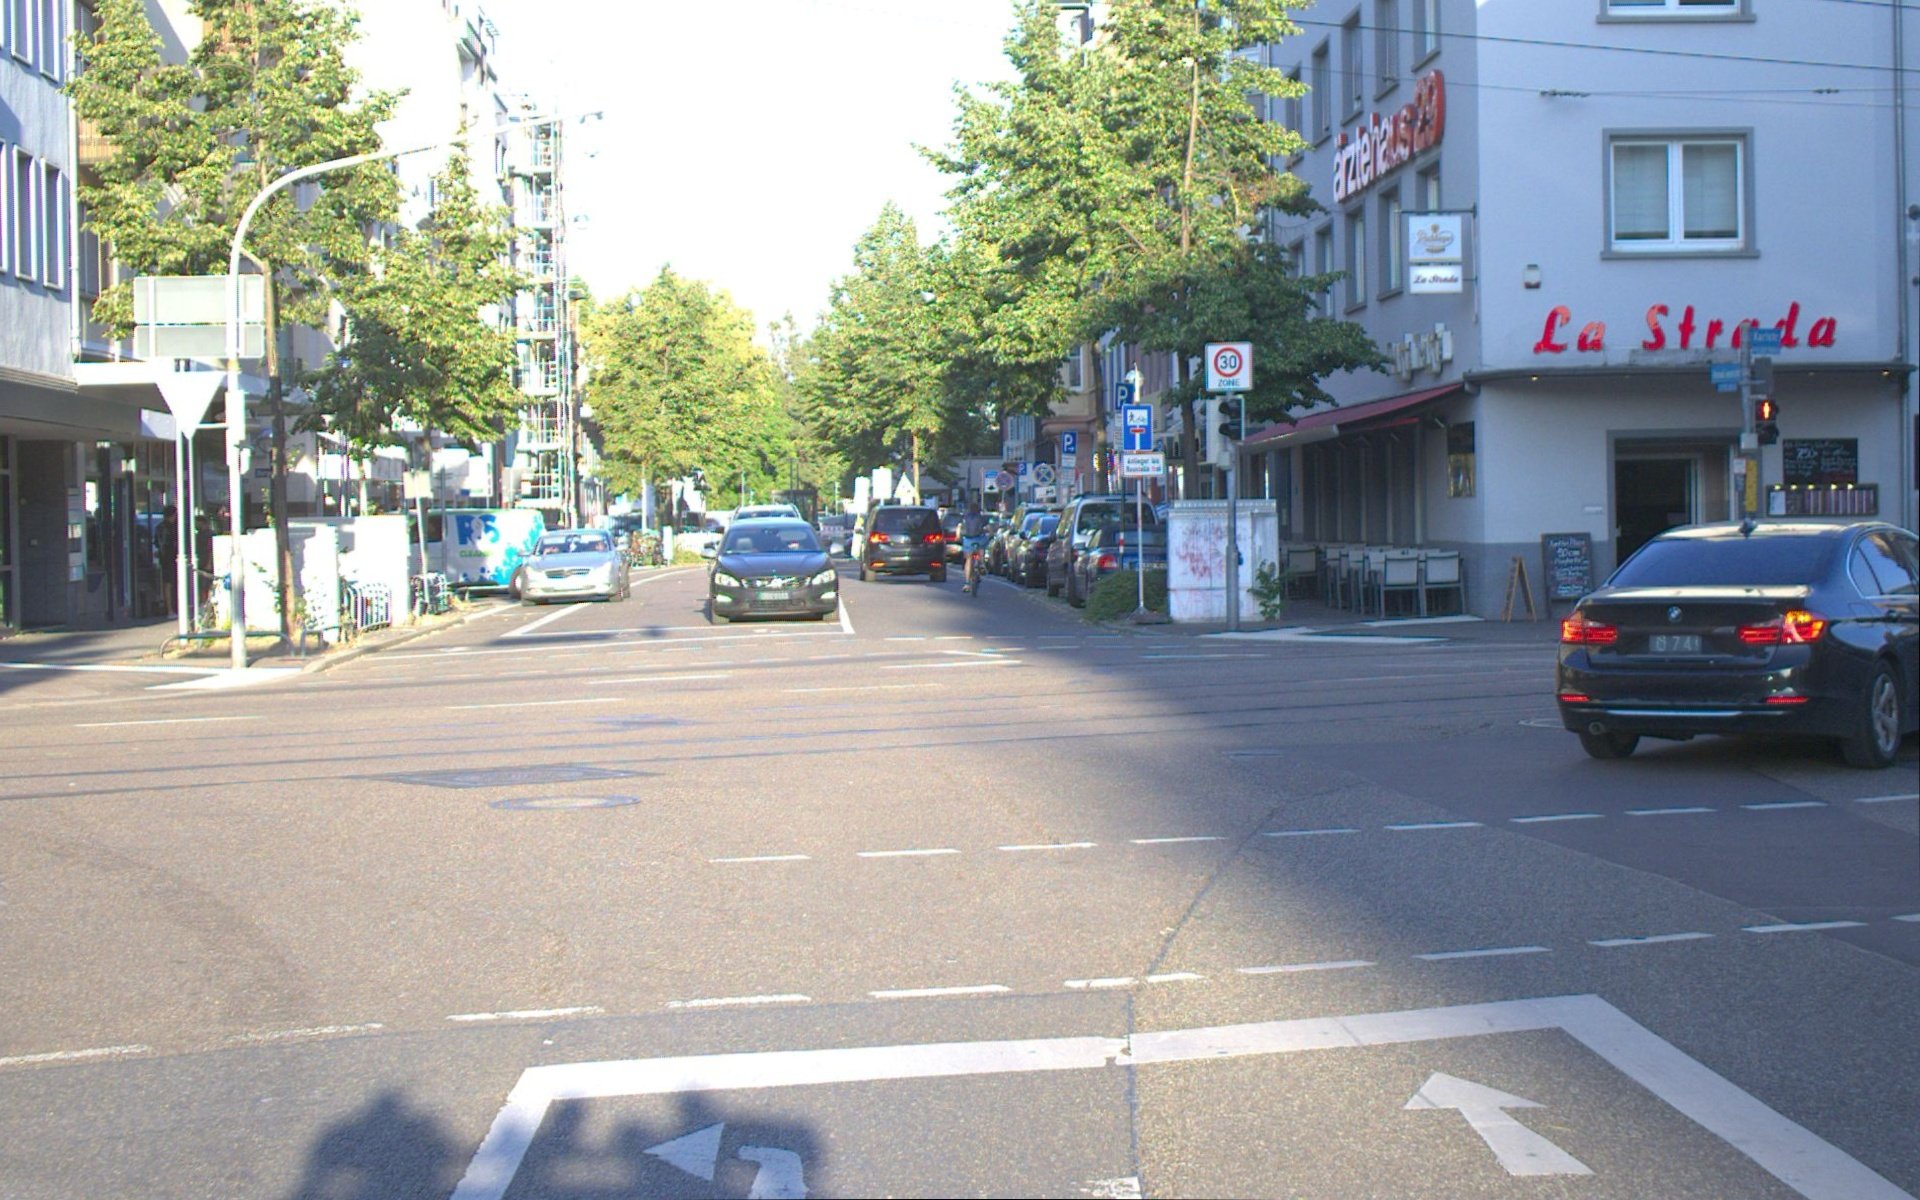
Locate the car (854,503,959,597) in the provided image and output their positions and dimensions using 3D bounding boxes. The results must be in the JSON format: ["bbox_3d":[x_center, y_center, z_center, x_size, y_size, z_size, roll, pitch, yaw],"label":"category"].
[{"bbox_3d":[-0.973,-0.867,60.217,1.723,1.544,4.465,-2,1,-2],"label":"car"}]

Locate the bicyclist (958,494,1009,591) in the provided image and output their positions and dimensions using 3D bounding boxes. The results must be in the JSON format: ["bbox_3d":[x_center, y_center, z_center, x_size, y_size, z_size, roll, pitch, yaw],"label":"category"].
[{"bbox_3d":[0.411,-1.021,61.322,0.780,1.690,1.007,-2,1,-5],"label":"bicyclist"}]

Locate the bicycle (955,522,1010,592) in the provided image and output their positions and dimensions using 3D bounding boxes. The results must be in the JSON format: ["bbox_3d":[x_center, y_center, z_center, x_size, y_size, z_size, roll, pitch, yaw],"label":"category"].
[{"bbox_3d":[0.391,-0.765,61.279,0.780,1.200,2.021,-2,1,-5],"label":"bicycle"}]

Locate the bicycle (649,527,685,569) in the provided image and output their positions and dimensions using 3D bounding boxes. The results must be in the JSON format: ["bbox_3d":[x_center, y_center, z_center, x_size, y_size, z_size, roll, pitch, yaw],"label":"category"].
[{"bbox_3d":[-9.745,-1.719,114.285,0.844,1.346,3.188,-1,1,-11],"label":"bicycle"}]

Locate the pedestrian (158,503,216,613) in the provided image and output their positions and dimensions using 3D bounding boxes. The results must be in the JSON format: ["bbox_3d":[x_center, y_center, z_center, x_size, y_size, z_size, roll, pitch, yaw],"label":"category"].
[{"bbox_3d":[-12.970,-0.716,57.691,0.740,1.812,0.813,-1,2,0],"label":"pedestrian"}]

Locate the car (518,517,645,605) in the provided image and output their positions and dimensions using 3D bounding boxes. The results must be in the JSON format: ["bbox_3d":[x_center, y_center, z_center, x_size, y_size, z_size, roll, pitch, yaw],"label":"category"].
[{"bbox_3d":[-7.118,-0.738,64.999,1.993,1.506,4.510,-3,1,-2],"label":"car"}]

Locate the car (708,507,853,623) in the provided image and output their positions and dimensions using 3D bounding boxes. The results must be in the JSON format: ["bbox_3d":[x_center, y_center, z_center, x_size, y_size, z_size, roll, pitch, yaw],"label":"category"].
[{"bbox_3d":[-2.664,-0.543,50.188,1.958,1.542,4.511,-1,2,-4],"label":"car"}]

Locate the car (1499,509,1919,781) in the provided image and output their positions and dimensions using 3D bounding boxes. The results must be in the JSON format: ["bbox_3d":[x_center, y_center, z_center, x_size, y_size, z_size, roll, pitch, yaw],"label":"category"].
[{"bbox_3d":[5.066,0.178,20.872,1.997,1.415,4.502,1,2,31],"label":"car"}]

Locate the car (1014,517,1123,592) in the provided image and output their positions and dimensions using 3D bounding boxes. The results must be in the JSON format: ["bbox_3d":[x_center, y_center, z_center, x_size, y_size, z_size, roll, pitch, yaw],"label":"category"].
[{"bbox_3d":[2.112,-0.923,67.848,1.752,1.415,4.510,0,2,-3],"label":"car"}]

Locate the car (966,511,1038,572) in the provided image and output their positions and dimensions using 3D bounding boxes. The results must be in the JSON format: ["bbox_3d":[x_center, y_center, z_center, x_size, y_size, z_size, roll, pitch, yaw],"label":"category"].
[{"bbox_3d":[1.160,-1.642,96.633,1.812,1.662,4.206,0,1,-2],"label":"car"}]

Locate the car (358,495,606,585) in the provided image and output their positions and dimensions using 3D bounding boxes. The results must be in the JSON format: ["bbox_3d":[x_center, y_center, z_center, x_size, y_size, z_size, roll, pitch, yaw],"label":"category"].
[{"bbox_3d":[-9.998,-1.230,72.158,4.867,1.821,1.999,0,1,-43],"label":"car"}]

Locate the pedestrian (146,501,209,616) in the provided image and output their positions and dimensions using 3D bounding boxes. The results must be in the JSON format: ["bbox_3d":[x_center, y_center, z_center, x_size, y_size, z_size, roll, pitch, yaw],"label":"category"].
[{"bbox_3d":[-12.750,-0.683,56.031,0.768,1.841,0.743,0,2,7],"label":"pedestrian"}]

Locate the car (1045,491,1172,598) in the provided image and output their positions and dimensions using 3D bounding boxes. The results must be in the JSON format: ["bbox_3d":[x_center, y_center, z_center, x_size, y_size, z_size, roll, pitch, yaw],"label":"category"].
[{"bbox_3d":[2.538,-0.988,59.727,1.654,1.772,4.013,0,2,-5],"label":"car"}]

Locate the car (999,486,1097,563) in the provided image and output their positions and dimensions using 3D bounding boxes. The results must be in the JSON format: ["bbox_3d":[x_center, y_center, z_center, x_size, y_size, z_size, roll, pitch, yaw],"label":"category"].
[{"bbox_3d":[2.037,-1.751,81.216,1.883,1.748,5.059,0,1,-3],"label":"car"}]

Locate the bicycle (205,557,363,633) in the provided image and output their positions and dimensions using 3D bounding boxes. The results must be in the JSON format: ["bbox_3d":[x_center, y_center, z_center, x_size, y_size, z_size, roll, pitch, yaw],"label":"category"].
[{"bbox_3d":[-8.952,-0.065,45.564,2.009,0.988,0.491,0,0,-6],"label":"bicycle"}]

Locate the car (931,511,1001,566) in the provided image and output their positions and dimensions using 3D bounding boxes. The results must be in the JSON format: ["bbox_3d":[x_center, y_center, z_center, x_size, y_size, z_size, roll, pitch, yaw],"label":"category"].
[{"bbox_3d":[0.172,-1.945,109.503,1.824,1.689,4.370,0,1,-5],"label":"car"}]

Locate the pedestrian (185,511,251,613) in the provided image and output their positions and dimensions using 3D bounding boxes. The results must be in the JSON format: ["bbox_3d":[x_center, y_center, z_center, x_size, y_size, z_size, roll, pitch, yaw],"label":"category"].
[{"bbox_3d":[-12.298,-0.634,56.973,0.769,1.670,0.741,1,1,40],"label":"pedestrian"}]

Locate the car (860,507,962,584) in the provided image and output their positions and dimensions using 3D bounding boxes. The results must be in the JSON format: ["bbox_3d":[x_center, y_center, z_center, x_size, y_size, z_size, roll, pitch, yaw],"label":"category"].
[{"bbox_3d":[-1.015,-1.157,73.916,1.993,1.596,4.509,0,1,2],"label":"car"}]

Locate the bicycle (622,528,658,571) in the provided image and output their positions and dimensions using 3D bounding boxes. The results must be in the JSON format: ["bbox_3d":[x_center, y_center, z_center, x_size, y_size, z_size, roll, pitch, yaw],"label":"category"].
[{"bbox_3d":[-10.629,-1.681,114.119,0.892,1.391,3.167,-1,1,-11],"label":"bicycle"}]
